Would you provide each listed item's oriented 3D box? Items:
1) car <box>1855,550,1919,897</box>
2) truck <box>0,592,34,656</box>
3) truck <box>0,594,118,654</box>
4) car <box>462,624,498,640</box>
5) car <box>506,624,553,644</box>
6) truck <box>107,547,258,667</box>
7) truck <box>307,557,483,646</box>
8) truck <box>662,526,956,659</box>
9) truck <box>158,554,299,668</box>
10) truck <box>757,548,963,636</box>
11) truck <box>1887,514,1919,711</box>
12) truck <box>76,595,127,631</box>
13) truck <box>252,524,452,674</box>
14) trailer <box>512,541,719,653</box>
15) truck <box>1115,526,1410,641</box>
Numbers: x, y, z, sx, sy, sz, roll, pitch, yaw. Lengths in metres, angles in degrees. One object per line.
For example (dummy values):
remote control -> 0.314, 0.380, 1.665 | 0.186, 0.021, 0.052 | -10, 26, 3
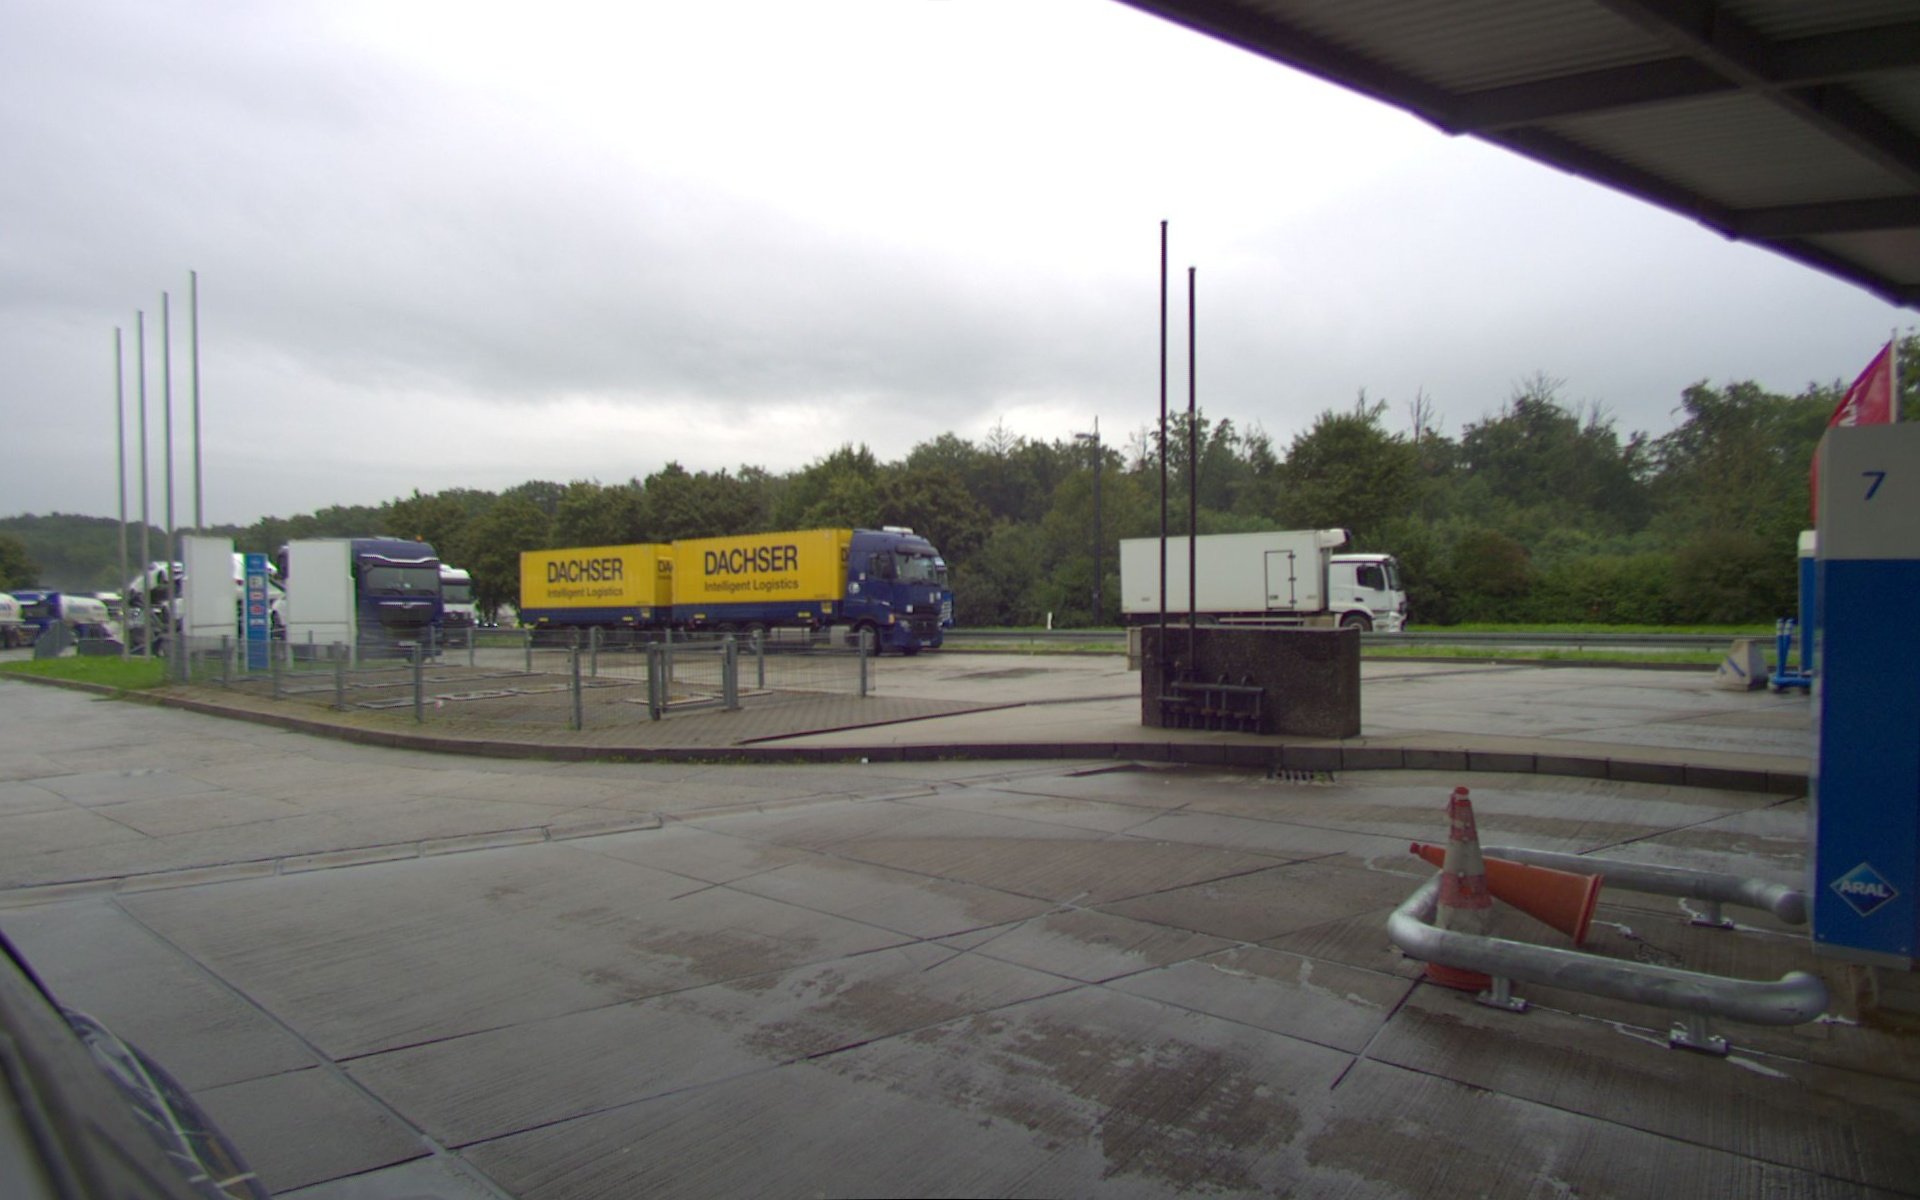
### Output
car -> 6.914, 0.544, 3.801 | 5.269, 1.620, 1.842 | -1, 0, 41
truck -> -55.152, 1.341, 53.690 | 3.454, 3.633, 14.444 | -1, -1, -19
truck -> -61.491, 1.626, 68.657 | 3.454, 3.633, 14.709 | -1, -1, -27
car -> -55.474, 3.665, 116.942 | 3.980, 1.706, 1.688 | -1, 0, 28
car -> -40.056, 3.119, 94.086 | 3.977, 1.772, 1.875 | -1, 0, 25
truck -> -29.585, 0.302, 38.448 | 6.605, 4.213, 2.635 | -1, 0, 35
truck -> -27.315, 0.108, 48.630 | 10.654, 3.946, 2.727 | -1, 0, 33
truck -> -5.333, -0.174, 34.030 | 10.654, 3.946, 2.727 | -1, 0, 33
truck -> -26.103, 0.398, 36.075 | 4.738, 3.800, 2.635 | -1, 0, 34
truck -> -4.875, -0.308, 47.645 | 10.195, 3.836, 2.395 | -1, 0, 31
truck -> 14.997, 0.128, 11.956 | 5.859, 2.513, 2.208 | -1, 0, 41
truck -> -128.124, 1.892, 150.948 | 11.498, 5.160, 3.109 | -1, 0, 36
truck -> -19.005, 0.014, 31.479 | 7.089, 4.213, 2.635 | -1, 0, 35
trailer -> -13.495, -0.069, 39.260 | 8.679, 3.946, 2.728 | -1, 0, 32
truck -> 10.973, -0.512, 37.450 | 10.195, 3.836, 2.395 | -1, 0, 31
